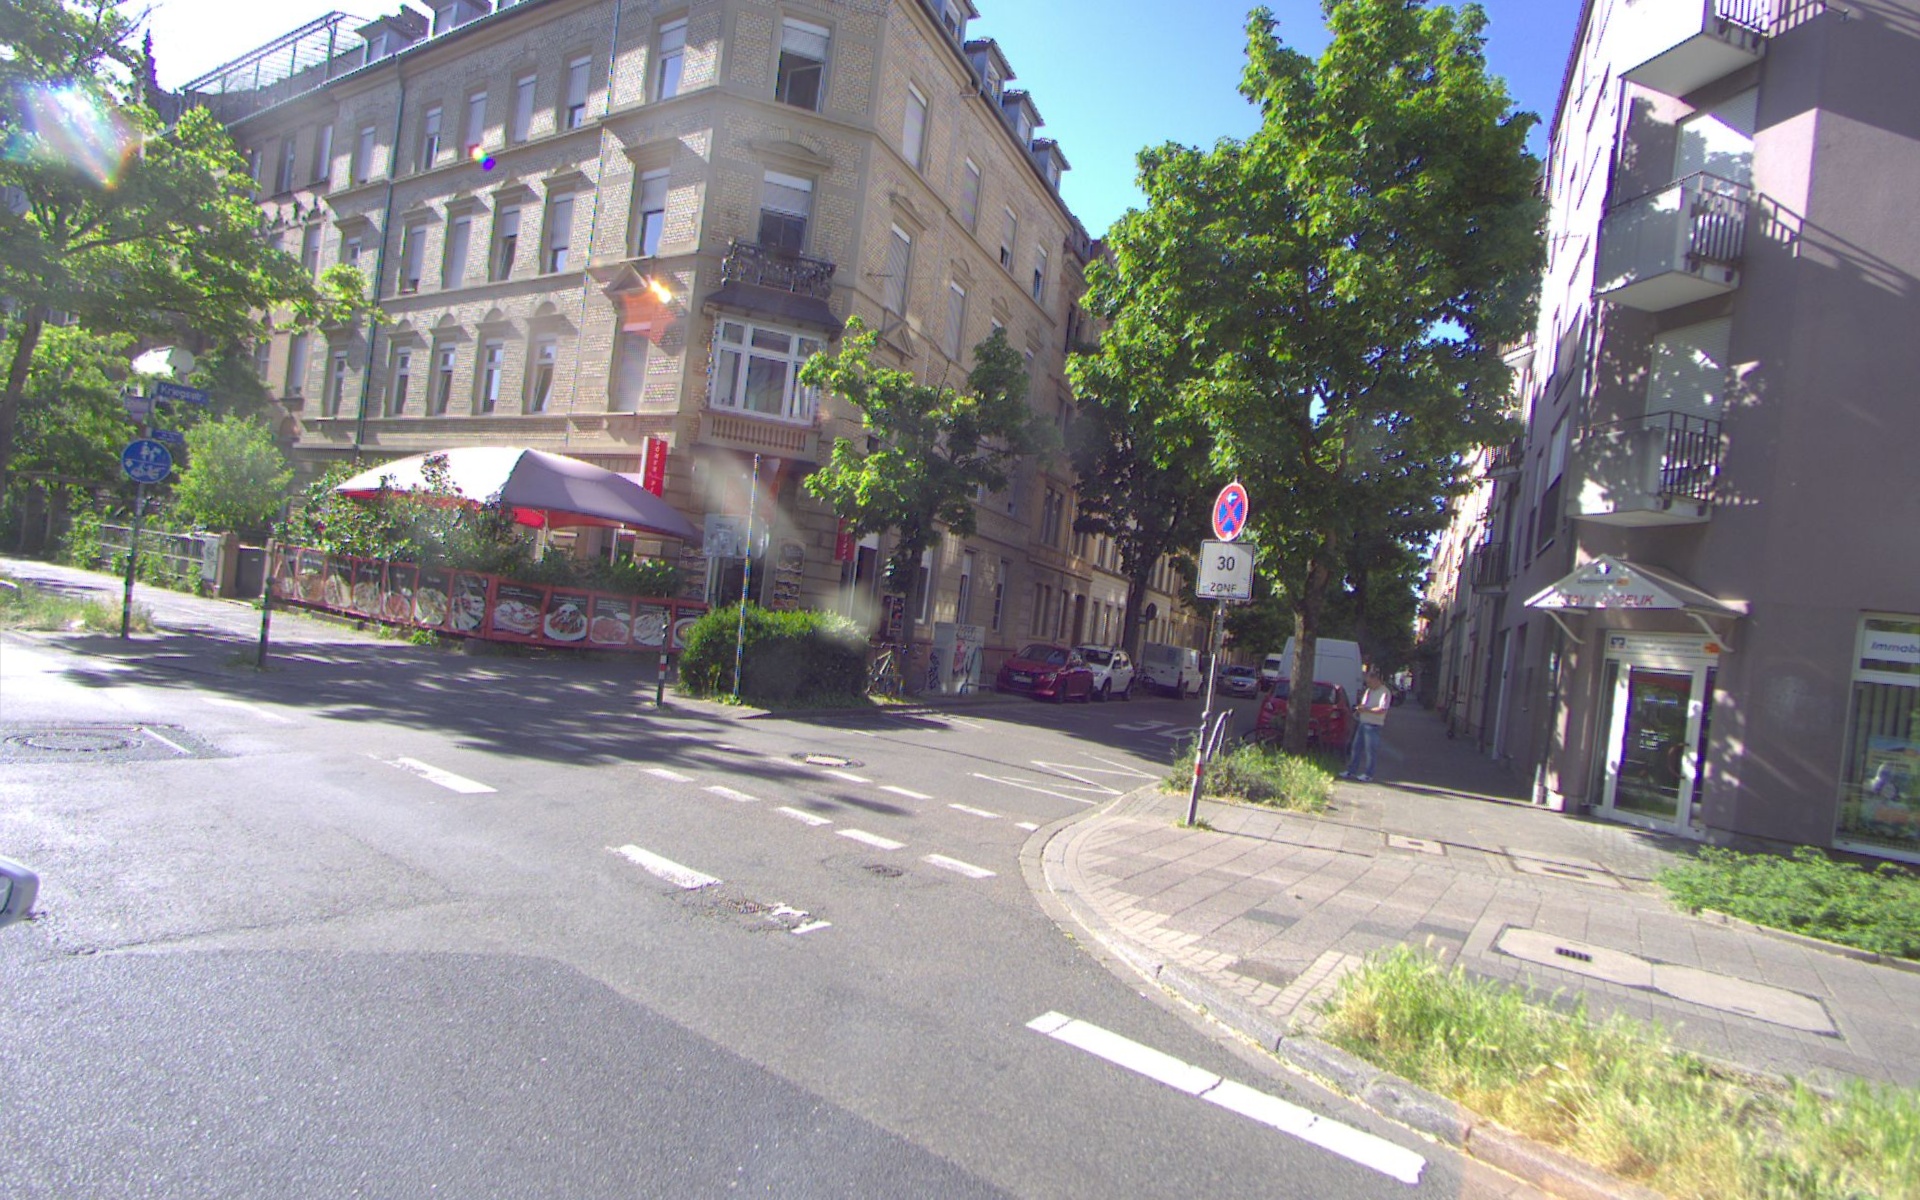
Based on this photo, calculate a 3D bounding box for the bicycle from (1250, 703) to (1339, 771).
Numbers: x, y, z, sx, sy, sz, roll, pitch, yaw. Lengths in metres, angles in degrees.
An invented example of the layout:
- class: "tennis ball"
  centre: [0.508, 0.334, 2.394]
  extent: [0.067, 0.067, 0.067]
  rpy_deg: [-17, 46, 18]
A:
- class: "bicycle"
  centre: [5.122, 2.089, 15.416]
  extent: [1.181, 0.832, 0.294]
  rpy_deg: [7, 0, 24]

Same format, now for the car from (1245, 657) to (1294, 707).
- class: "car"
  centre: [19.524, 5.194, 63.340]
  extent: [2.234, 2.691, 4.326]
  rpy_deg: [7, -3, 23]

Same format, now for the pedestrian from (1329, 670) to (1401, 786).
- class: "pedestrian"
  centre: [5.940, 1.869, 14.766]
  extent: [0.526, 1.596, 0.629]
  rpy_deg: [6, 0, -31]

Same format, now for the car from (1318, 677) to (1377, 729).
- class: "car"
  centre: [14.135, 3.691, 36.620]
  extent: [1.665, 1.575, 3.821]
  rpy_deg: [7, -1, 24]

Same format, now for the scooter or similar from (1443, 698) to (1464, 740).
- class: "scooter or similar"
  centre: [15.096, 3.629, 30.782]
  extent: [0.413, 1.161, 1.373]
  rpy_deg: [5, -1, 24]

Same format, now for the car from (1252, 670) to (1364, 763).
- class: "car"
  centre: [7.144, 2.288, 20.426]
  extent: [1.662, 1.480, 3.999]
  rpy_deg: [7, -1, 25]

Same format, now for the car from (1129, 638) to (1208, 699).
- class: "car"
  centre: [8.278, 2.740, 39.651]
  extent: [1.961, 2.052, 4.304]
  rpy_deg: [7, -2, 25]

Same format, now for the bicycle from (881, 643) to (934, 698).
- class: "bicycle"
  centre: [-1.016, 1.378, 19.619]
  extent: [0.386, 0.985, 1.313]
  rpy_deg: [7, -1, 23]

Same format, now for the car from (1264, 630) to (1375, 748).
- class: "car"
  centre: [9.359, 2.226, 25.950]
  extent: [2.180, 2.480, 5.095]
  rpy_deg: [7, -1, 22]

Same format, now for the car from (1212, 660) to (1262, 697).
- class: "car"
  centre: [13.392, 3.830, 48.481]
  extent: [1.664, 1.489, 4.002]
  rpy_deg: [7, -2, 23]

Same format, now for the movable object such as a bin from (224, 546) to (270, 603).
- class: "movable object such as a bin"
  centre: [-15.470, -0.548, 21.843]
  extent: [0.543, 1.147, 0.569]
  rpy_deg: [7, 0, 34]

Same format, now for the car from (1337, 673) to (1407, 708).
- class: "car"
  centre: [26.299, 5.795, 64.161]
  extent: [3.928, 1.603, 1.820]
  rpy_deg: [7, -3, 25]

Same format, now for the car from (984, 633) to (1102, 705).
- class: "car"
  centre: [2.259, 1.870, 26.427]
  extent: [1.747, 1.457, 4.003]
  rpy_deg: [10, -1, 23]

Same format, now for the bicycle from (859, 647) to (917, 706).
- class: "bicycle"
  centre: [-1.289, 1.376, 18.176]
  extent: [0.386, 0.985, 1.313]
  rpy_deg: [7, -1, 23]

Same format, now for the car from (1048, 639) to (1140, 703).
- class: "car"
  centre: [4.155, 2.200, 30.666]
  extent: [1.664, 1.613, 4.002]
  rpy_deg: [7, -2, 23]

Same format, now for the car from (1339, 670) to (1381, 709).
- class: "car"
  centre: [22.408, 4.993, 56.249]
  extent: [1.746, 1.904, 3.998]
  rpy_deg: [7, -1, 25]
